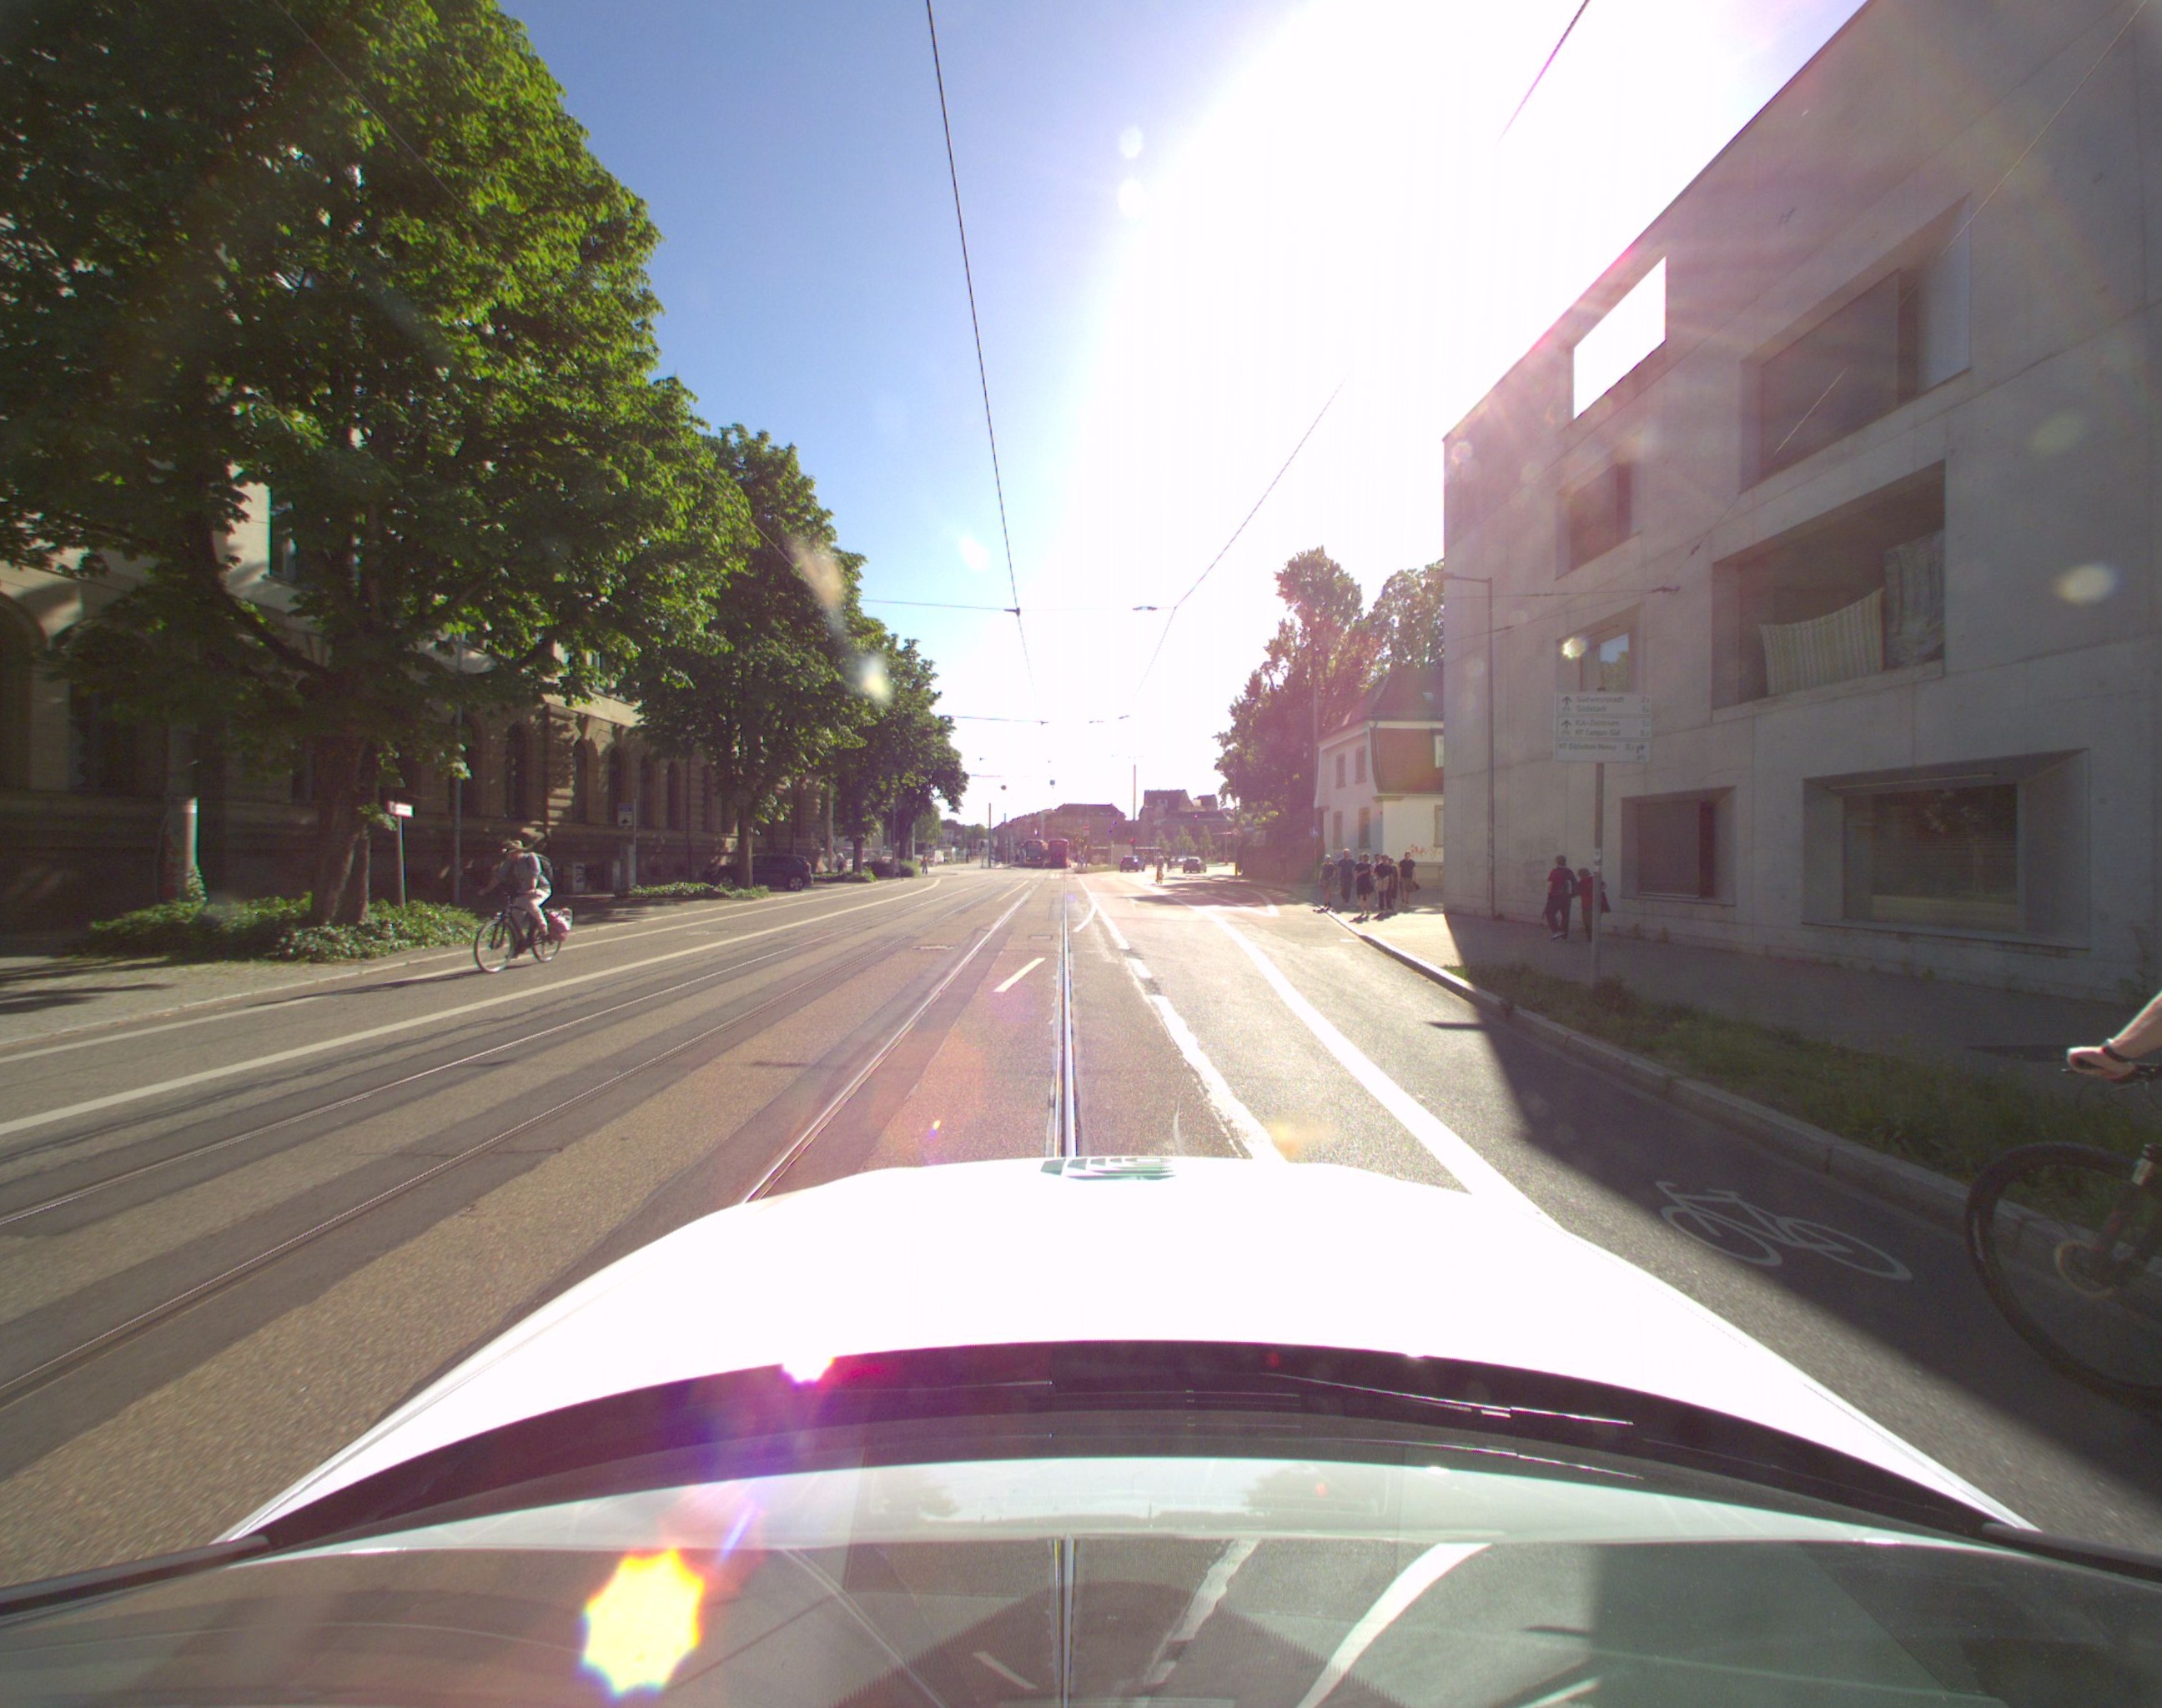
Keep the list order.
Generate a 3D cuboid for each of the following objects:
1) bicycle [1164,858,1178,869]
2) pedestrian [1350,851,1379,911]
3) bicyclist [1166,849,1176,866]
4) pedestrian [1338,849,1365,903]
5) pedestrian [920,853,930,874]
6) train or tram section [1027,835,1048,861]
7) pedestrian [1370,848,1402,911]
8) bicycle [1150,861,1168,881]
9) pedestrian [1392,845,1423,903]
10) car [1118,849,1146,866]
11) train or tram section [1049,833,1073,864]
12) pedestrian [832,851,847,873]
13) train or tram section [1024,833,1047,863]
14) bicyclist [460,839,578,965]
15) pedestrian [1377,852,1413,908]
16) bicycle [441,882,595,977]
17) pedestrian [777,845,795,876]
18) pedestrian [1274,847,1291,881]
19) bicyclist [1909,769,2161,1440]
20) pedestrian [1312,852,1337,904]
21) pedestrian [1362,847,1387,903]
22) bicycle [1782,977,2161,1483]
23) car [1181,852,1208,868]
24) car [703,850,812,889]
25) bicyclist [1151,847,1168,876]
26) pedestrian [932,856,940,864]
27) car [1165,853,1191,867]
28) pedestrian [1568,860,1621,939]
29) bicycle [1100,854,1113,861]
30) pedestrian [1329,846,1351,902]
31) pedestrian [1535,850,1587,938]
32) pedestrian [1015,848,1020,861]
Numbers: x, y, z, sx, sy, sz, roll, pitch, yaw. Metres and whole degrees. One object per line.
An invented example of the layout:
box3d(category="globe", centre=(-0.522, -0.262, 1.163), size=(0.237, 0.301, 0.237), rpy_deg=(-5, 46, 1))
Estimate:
box3d(category="bicycle", centre=(9.136, 0.964, 82.705), size=(0.698, 1.055, 2.326), rpy_deg=(2, 1, 23))
box3d(category="pedestrian", centre=(8.368, 0.783, 24.035), size=(0.492, 1.728, 0.817), rpy_deg=(-4, 0, 4))
box3d(category="bicyclist", centre=(9.087, 0.368, 82.529), size=(0.698, 1.700, 0.992), rpy_deg=(2, 1, 23))
box3d(category="pedestrian", centre=(9.158, 0.740, 27.586), size=(0.523, 1.774, 0.740), rpy_deg=(-5, 0, 39))
box3d(category="pedestrian", centre=(-12.829, 0.746, 67.108), size=(0.638, 1.697, 0.813), rpy_deg=(-1, 0, -23))
box3d(category="train or tram section", centre=(-6.299, -0.892, 119.356), size=(2.735, 3.651, 12.535), rpy_deg=(0, 1, -2))
box3d(category="pedestrian", centre=(9.013, 0.739, 24.103), size=(0.643, 1.763, 0.959), rpy_deg=(-4, 0, 13))
box3d(category="bicycle", centre=(4.613, 1.002, 48.131), size=(0.699, 1.104, 1.725), rpy_deg=(2, 1, 18))
box3d(category="pedestrian", centre=(10.514, 0.625, 26.262), size=(0.654, 1.802, 0.733), rpy_deg=(-3, 0, 6))
box3d(category="car", centre=(5.008, 0.358, 79.670), size=(1.775, 1.604, 3.729), rpy_deg=(1, 0, 17))
box3d(category="train or tram section", centre=(-2.542, -0.712, 100.920), size=(2.735, 3.651, 13.775), rpy_deg=(0, 1, -2))
box3d(category="pedestrian", centre=(-16.479, 0.542, 55.619), size=(0.925, 1.504, 0.700), rpy_deg=(0, 0, -24))
box3d(category="train or tram section", centre=(-5.856, -0.769, 106.208), size=(2.735, 3.651, 13.775), rpy_deg=(0, 1, -2))
box3d(category="bicyclist", centre=(-7.762, 0.629, 11.306), size=(0.684, 1.644, 1.238), rpy_deg=(-2, 0, 3))
box3d(category="pedestrian", centre=(9.619, 0.790, 24.990), size=(0.823, 1.604, 0.897), rpy_deg=(-4, 0, 13))
box3d(category="bicycle", centre=(-7.747, 0.992, 11.334), size=(0.684, 1.124, 1.933), rpy_deg=(-2, 0, 3))
box3d(category="pedestrian", centre=(-16.310, 0.359, 45.053), size=(0.698, 1.635, 0.759), rpy_deg=(2, 0, -2))
box3d(category="pedestrian", centre=(11.718, 0.570, 47.314), size=(0.635, 1.903, 1.134), rpy_deg=(-2, 0, 0))
box3d(category="bicyclist", centre=(3.100, 0.636, 2.191), size=(0.736, 1.686, 0.972), rpy_deg=(1, 0, 0))
box3d(category="pedestrian", centre=(8.341, 0.811, 27.929), size=(0.603, 1.746, 0.719), rpy_deg=(-3, 0, 6))
box3d(category="pedestrian", centre=(9.771, 0.691, 27.135), size=(0.605, 1.774, 0.655), rpy_deg=(-4, 0, 15))
box3d(category="bicycle", centre=(3.089, 1.039, 2.113), size=(0.736, 1.094, 2.111), rpy_deg=(1, 0, 1))
box3d(category="car", centre=(11.304, 0.579, 81.006), size=(1.774, 1.511, 3.732), rpy_deg=(1, 1, 21))
box3d(category="car", centre=(-13.466, 0.641, 33.913), size=(4.010, 1.550, 1.860), rpy_deg=(1, 0, -29))
box3d(category="bicyclist", centre=(4.627, 0.452, 48.128), size=(0.699, 1.675, 1.106), rpy_deg=(2, 0, 18))
box3d(category="pedestrian", centre=(-18.486, 0.807, 103.574), size=(0.895, 1.046, 0.655), rpy_deg=(0, 0, -1))
box3d(category="car", centre=(12.185, 0.759, 102.228), size=(1.685, 1.643, 3.736), rpy_deg=(1, 1, 34))
box3d(category="pedestrian", centre=(9.481, 0.820, 15.061), size=(0.516, 1.404, 0.765), rpy_deg=(0, 0, 2))
box3d(category="bicycle", centre=(3.876, 0.565, 122.703), size=(1.930, 1.103, 0.598), rpy_deg=(0, 0, -4))
box3d(category="pedestrian", centre=(8.946, 0.684, 28.121), size=(0.516, 1.902, 0.613), rpy_deg=(-3, 0, 6))
box3d(category="pedestrian", centre=(8.949, 0.722, 15.206), size=(0.516, 1.600, 0.765), rpy_deg=(0, 0, 2))
box3d(category="pedestrian", centre=(-9.164, 0.023, 117.411), size=(0.625, 1.827, 0.662), rpy_deg=(0, 0, -3))
